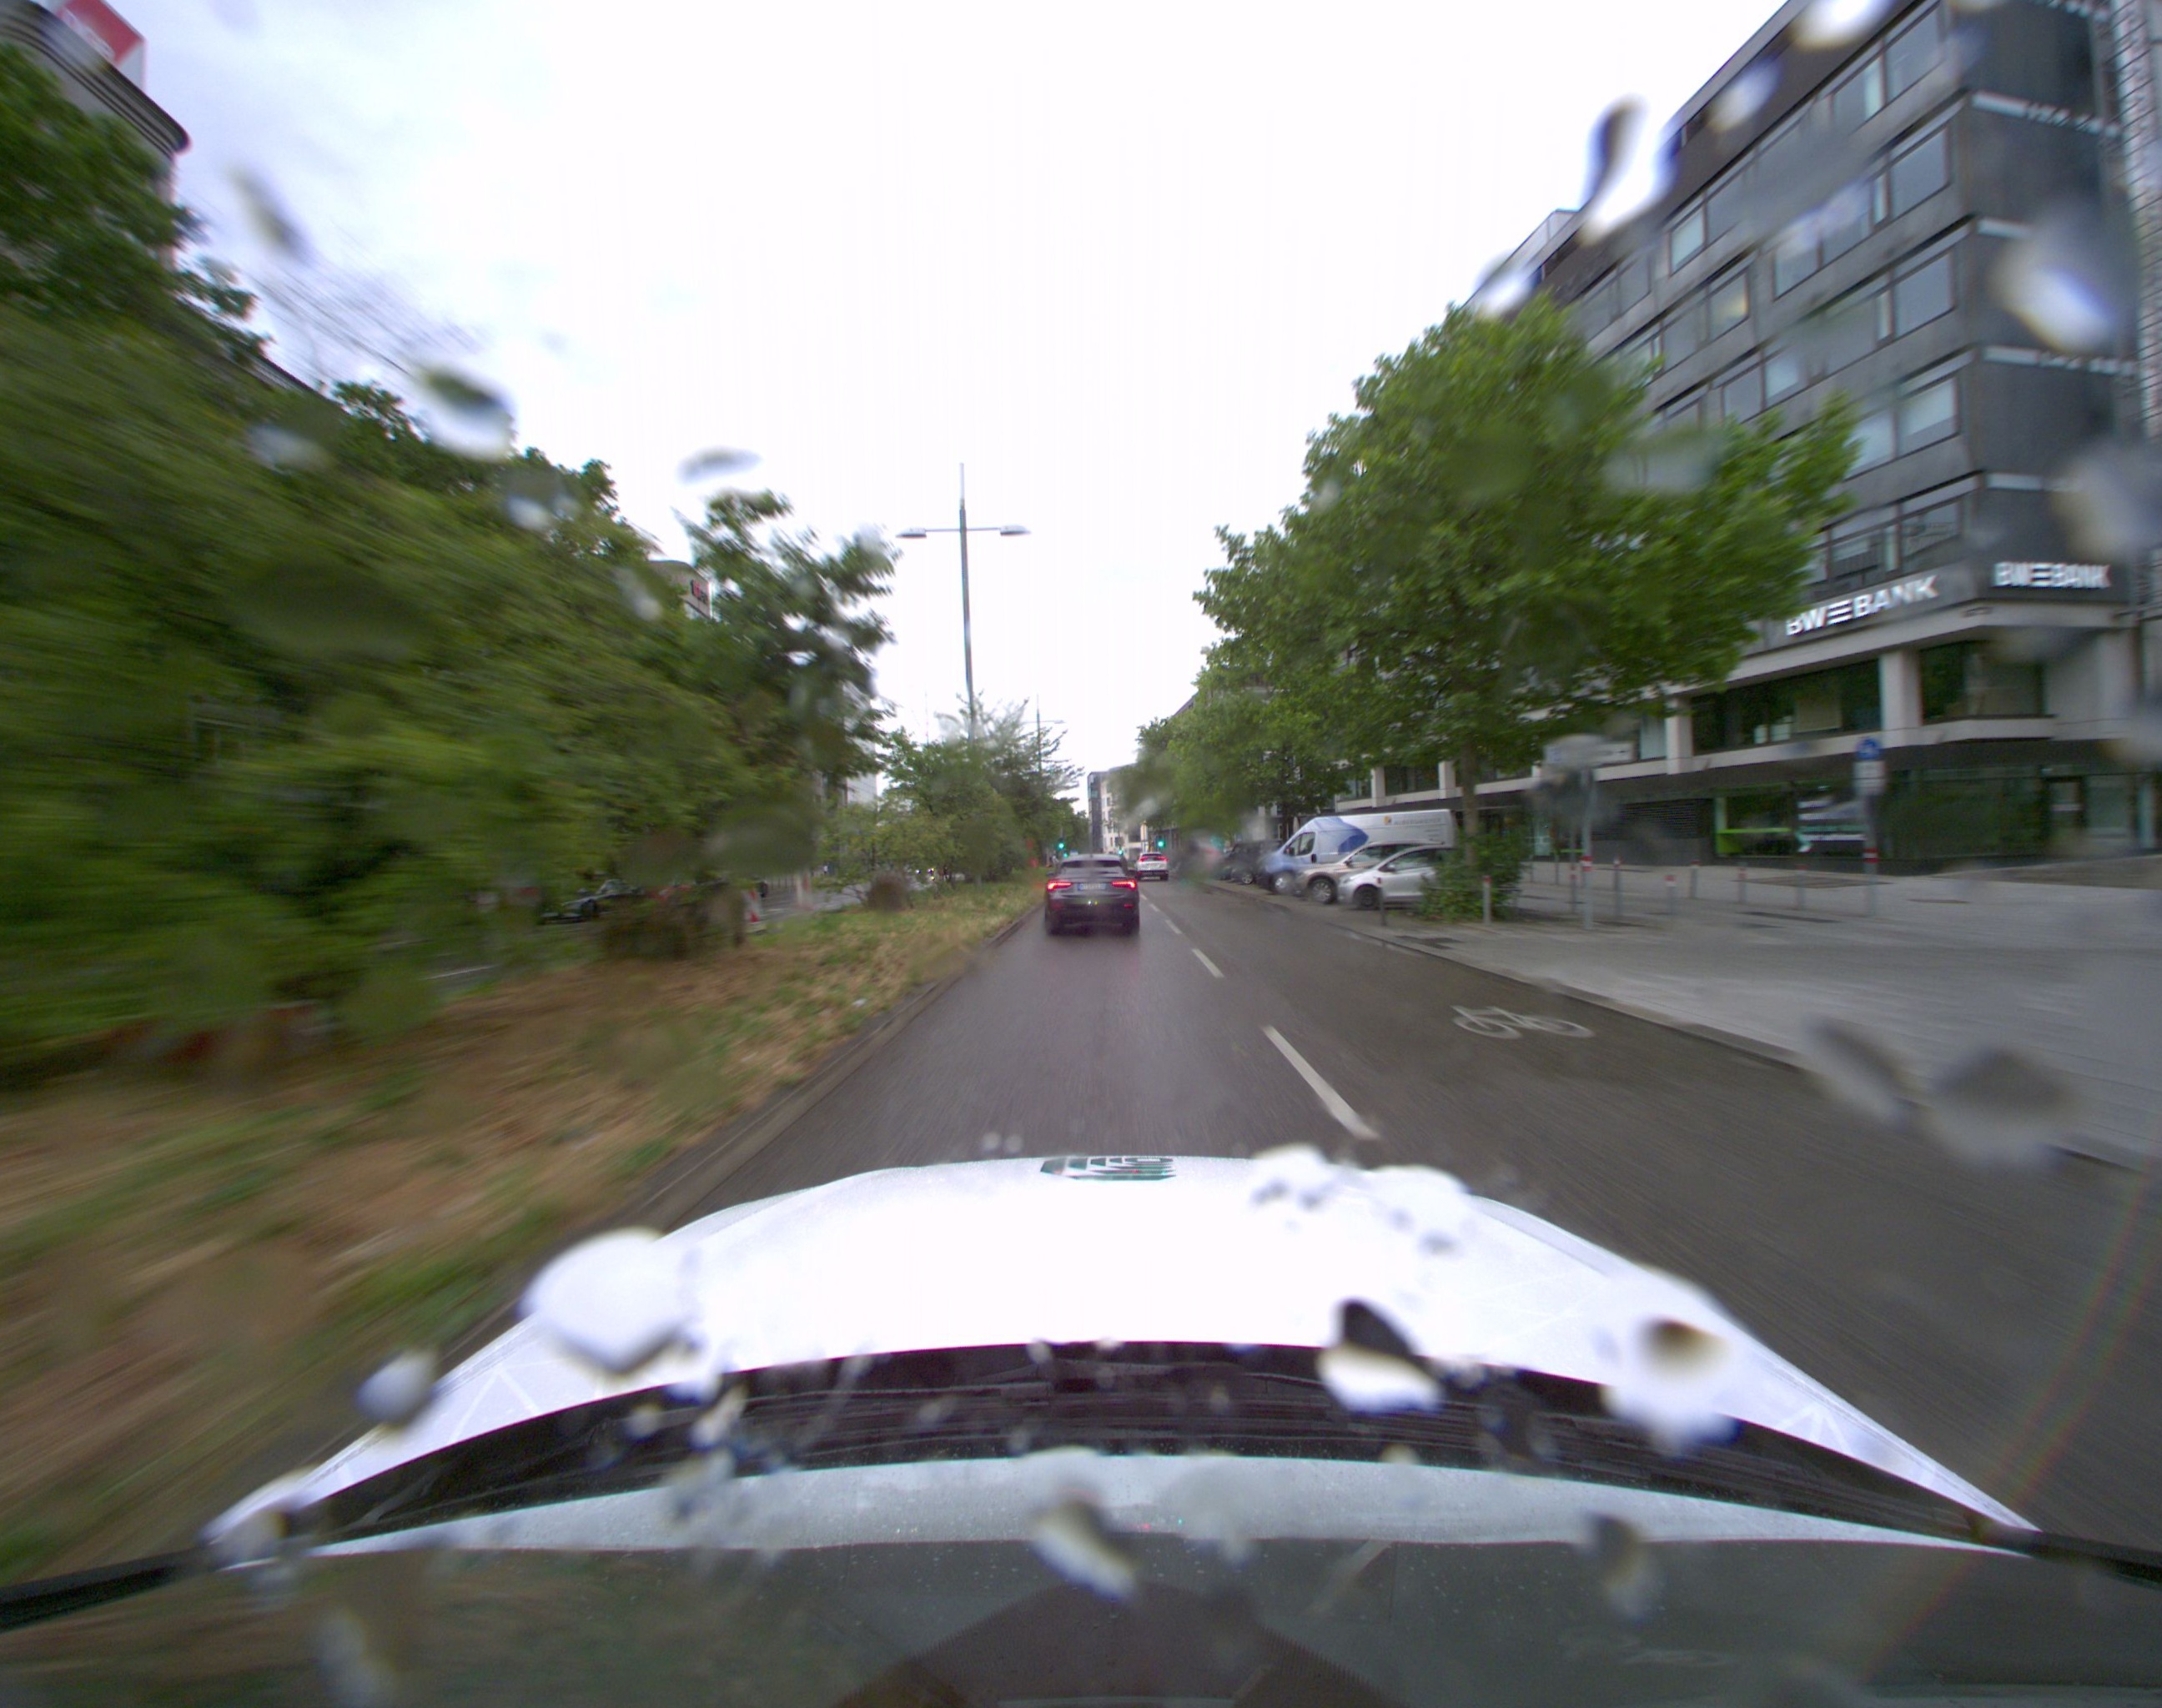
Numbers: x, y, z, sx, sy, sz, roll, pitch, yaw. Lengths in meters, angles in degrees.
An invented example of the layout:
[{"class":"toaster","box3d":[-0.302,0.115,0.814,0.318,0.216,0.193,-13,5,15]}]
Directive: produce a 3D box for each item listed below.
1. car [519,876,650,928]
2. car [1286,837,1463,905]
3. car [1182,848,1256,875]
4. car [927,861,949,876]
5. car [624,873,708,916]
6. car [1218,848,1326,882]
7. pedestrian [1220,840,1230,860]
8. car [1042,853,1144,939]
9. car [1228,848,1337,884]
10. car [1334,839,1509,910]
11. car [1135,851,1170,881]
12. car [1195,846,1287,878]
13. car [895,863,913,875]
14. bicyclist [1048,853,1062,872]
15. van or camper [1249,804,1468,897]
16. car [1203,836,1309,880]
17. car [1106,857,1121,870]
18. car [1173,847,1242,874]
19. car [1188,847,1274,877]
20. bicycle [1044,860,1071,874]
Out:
[{"class":"car","box3d":[-17.565,1.650,29.121,1.763,1.434,4.670,-5,0,-1]},{"class":"car","box3d":[7.910,0.460,22.001,4.216,1.667,1.829,-1,0,28]},{"class":"car","box3d":[8.927,0.501,52.735,4.252,1.488,1.855,-3,0,31]},{"class":"car","box3d":[-14.393,1.448,82.036,1.803,1.310,3.991,-4,0,-6]},{"class":"car","box3d":[-17.410,1.669,34.359,1.683,1.519,3.623,-5,0,-2]},{"class":"car","box3d":[9.069,0.541,38.793,4.578,1.394,1.859,-3,-1,30]},{"class":"pedestrian","box3d":[15.647,-0.419,88.296,0.929,2.115,1.079,-1,-1,14]},{"class":"car","box3d":[0.281,0.775,17.001,1.842,1.523,4.040,-1,0,2]},{"class":"car","box3d":[8.862,0.546,35.953,4.323,1.436,1.772,-2,-1,28]},{"class":"car","box3d":[7.945,0.484,19.207,3.617,1.547,1.724,-1,0,21]},{"class":"car","box3d":[4.163,0.685,47.742,1.842,1.669,4.041,-1,0,2]},{"class":"car","box3d":[8.782,0.457,44.778,4.511,1.507,1.880,-3,0,26]},{"class":"car","box3d":[-22.262,1.907,102.423,1.722,1.451,3.587,-3,-1,-5]},{"class":"bicyclist","box3d":[-2.237,0.725,69.612,1.100,1.622,0.751,1,-1,1]},{"class":"van or camper","box3d":[8.478,-0.026,25.083,6.008,2.558,2.118,-2,-1,29]},{"class":"car","box3d":[8.989,0.205,41.987,4.890,1.978,1.941,-3,0,28]},{"class":"car","box3d":[4.221,1.174,104.128,1.842,1.523,4.041,-1,0,2]},{"class":"car","box3d":[8.678,0.441,55.863,4.177,1.669,1.850,-3,0,29]},{"class":"car","box3d":[8.860,0.455,47.956,4.738,1.534,1.877,-3,0,16]},{"class":"bicycle","box3d":[-2.038,1.151,69.596,2.246,1.162,0.751,1,-1,1]}]
